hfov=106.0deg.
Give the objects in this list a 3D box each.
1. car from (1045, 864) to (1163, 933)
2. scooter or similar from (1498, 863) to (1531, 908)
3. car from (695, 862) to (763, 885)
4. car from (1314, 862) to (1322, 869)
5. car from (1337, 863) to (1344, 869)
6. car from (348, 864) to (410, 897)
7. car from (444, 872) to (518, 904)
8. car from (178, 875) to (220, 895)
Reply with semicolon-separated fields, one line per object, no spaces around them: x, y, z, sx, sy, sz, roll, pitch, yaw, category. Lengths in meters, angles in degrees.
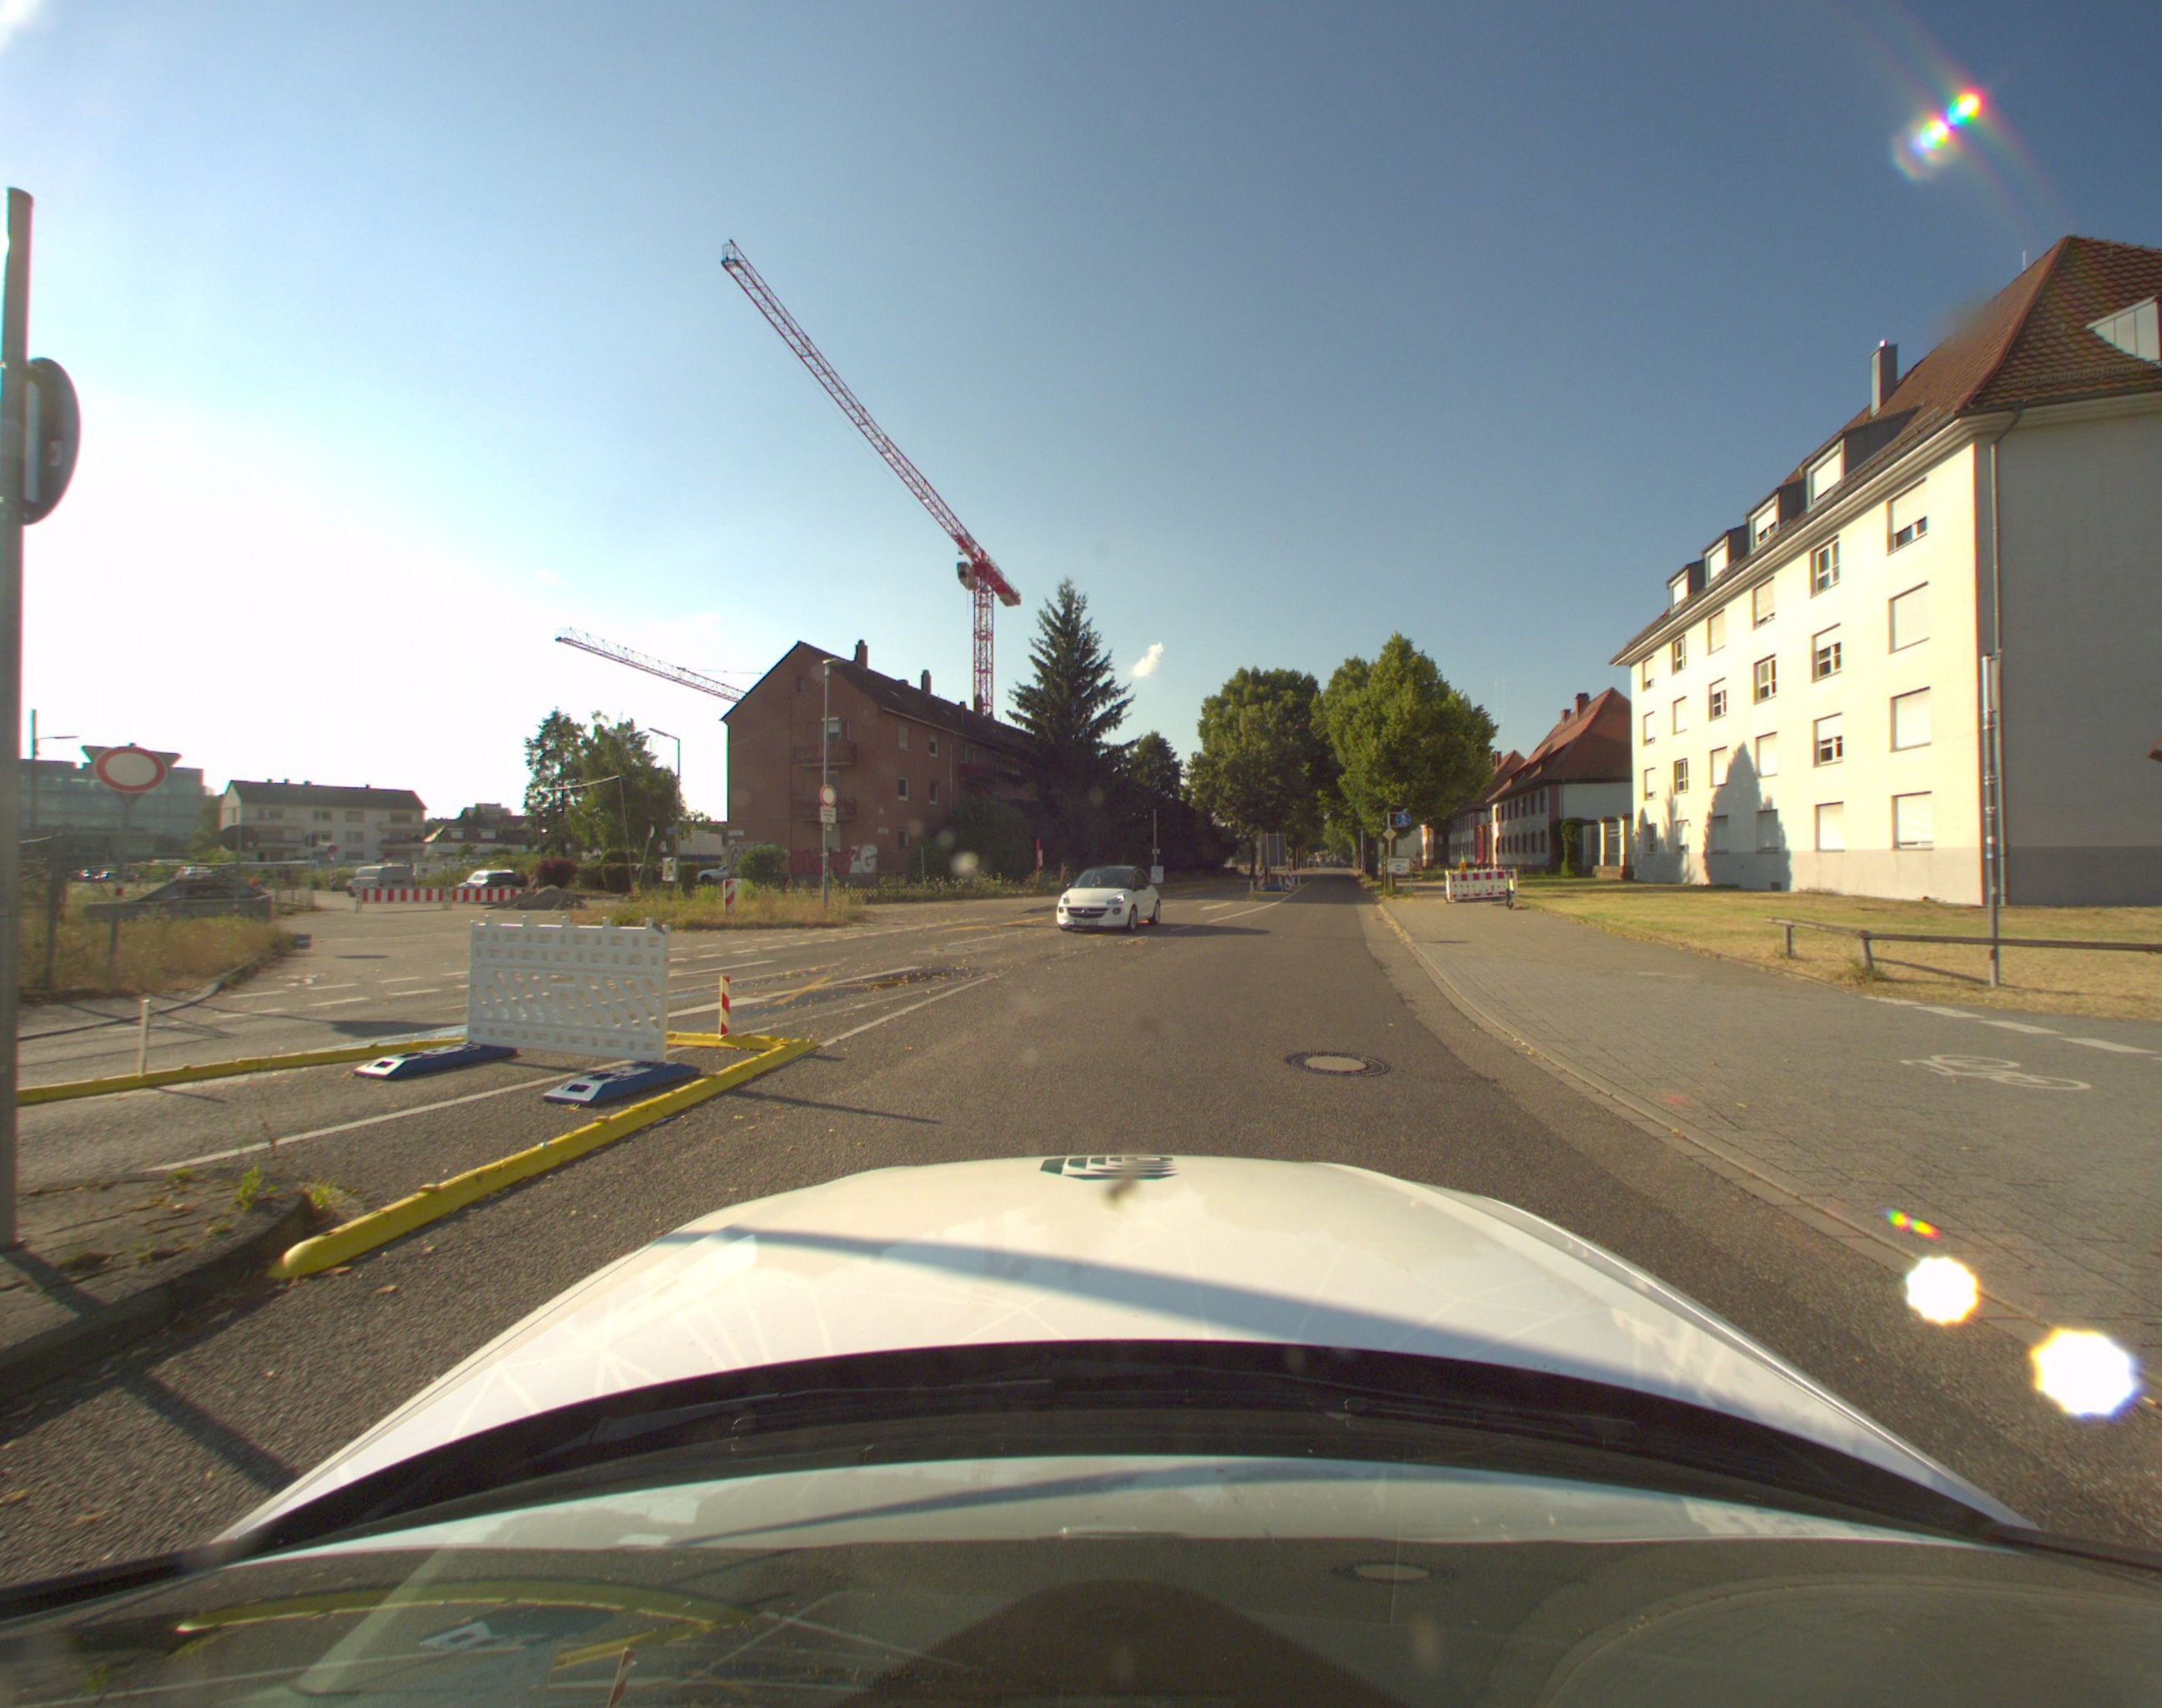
0.644;0.955;18.994;1.744;1.421;3.642;0;0;19;car
13.193;0.945;24.794;0.554;1.292;1.469;-4;-2;18;scooter or similar
-24.097;1.309;55.943;3.993;1.530;1.990;0;-1;-15;car
65.187;3.173;224.165;1.980;1.688;4.013;-1;-2;12;car
70.360;3.248;220.821;1.702;1.486;4.014;-2;-2;13;car
-43.761;1.646;50.770;3.948;1.948;1.880;-1;-1;33;car
-30.887;1.719;41.888;3.948;1.552;2.013;-1;-1;37;car
-85.266;3.014;78.702;4.305;1.838;2.166;-1;-1;35;car
